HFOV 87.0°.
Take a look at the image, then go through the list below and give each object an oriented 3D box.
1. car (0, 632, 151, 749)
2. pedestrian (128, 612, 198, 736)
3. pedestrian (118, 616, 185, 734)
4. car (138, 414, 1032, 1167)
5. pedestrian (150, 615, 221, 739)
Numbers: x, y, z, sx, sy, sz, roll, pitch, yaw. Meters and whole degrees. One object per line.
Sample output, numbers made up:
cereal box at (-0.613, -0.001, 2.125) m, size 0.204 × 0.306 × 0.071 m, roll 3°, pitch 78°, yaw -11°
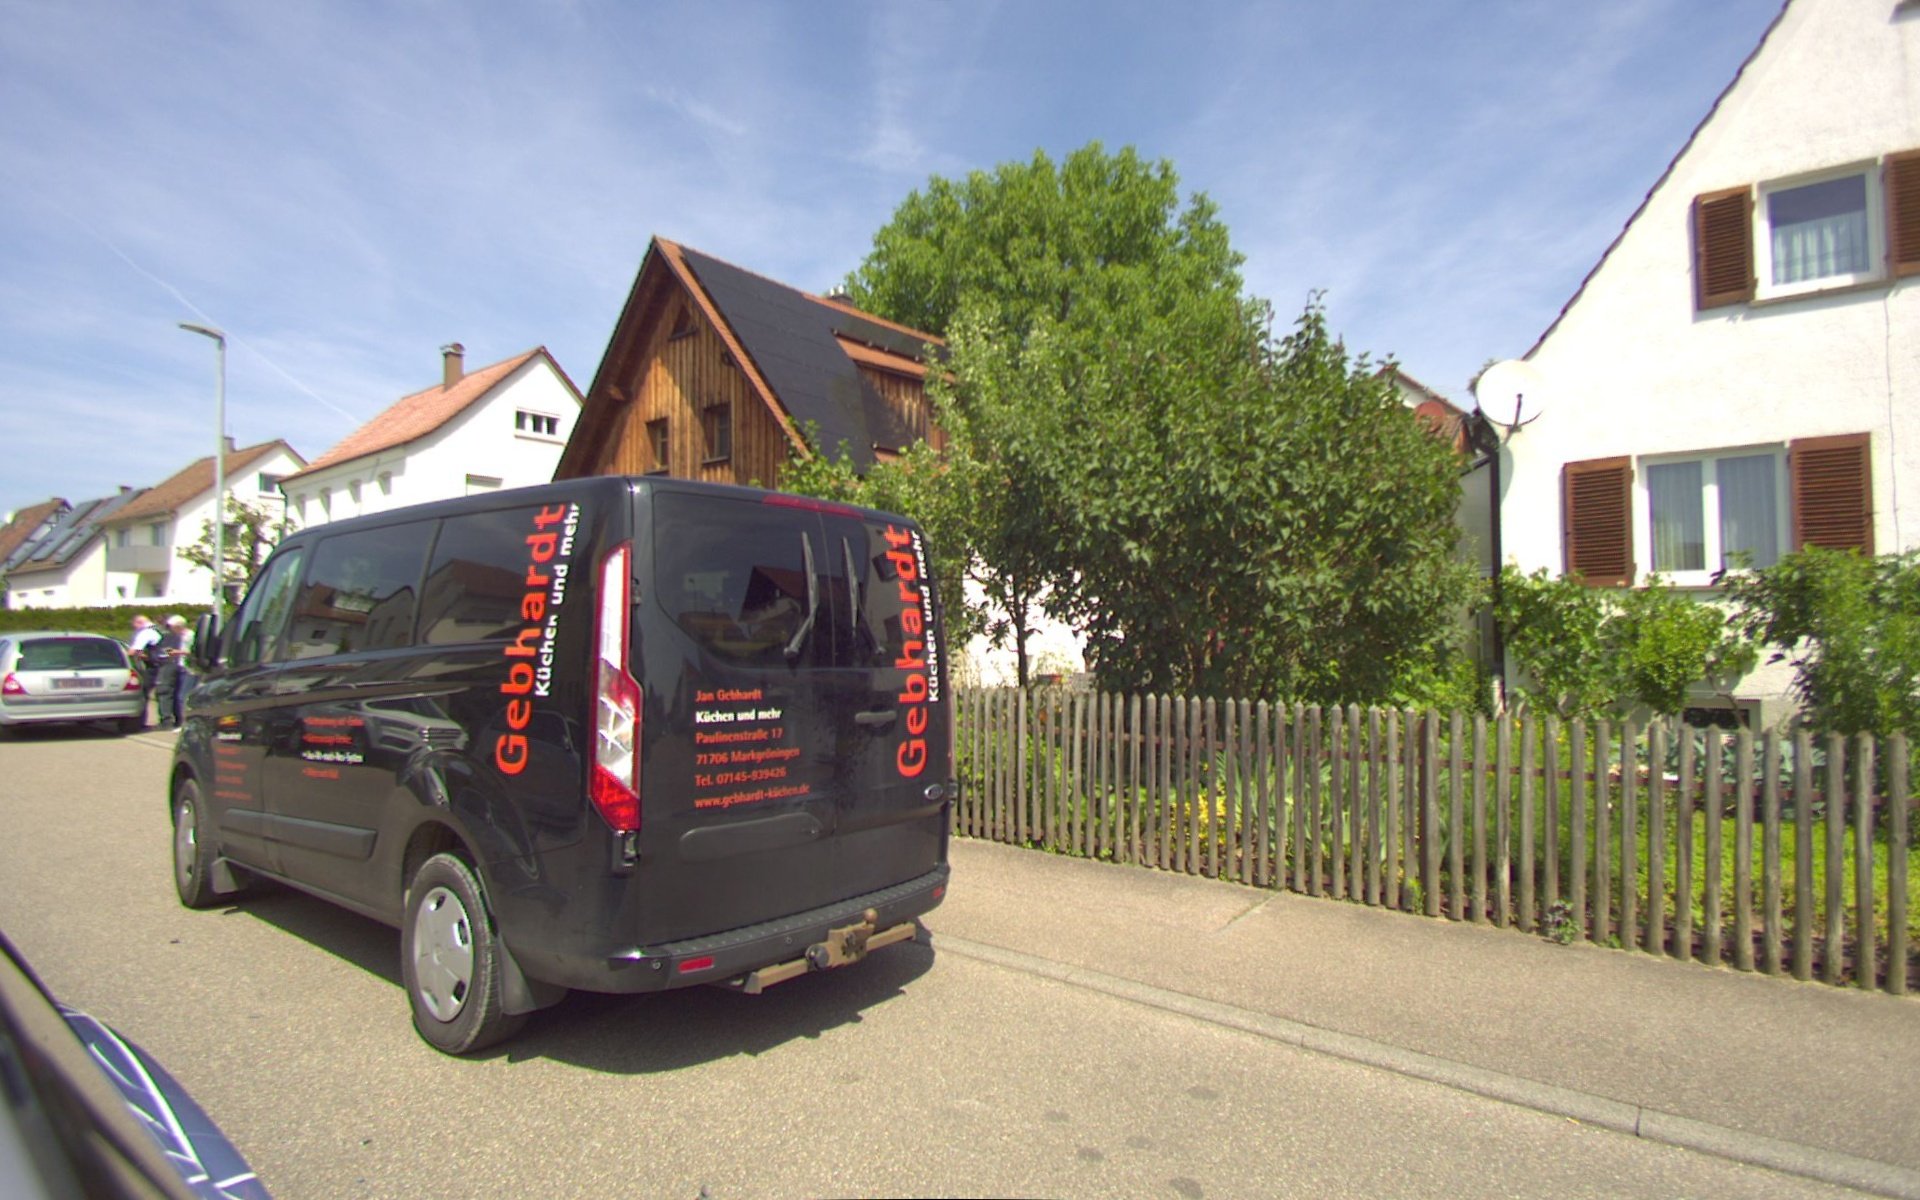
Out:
car at (-12.878, 1.185, 14.231) m, size 3.260 × 1.453 × 1.567 m, roll -1°, pitch -3°, yaw 37°
pedestrian at (-11.332, 1.024, 14.389) m, size 0.590 × 1.694 × 0.632 m, roll -2°, pitch 0°, yaw 39°
pedestrian at (-11.798, 1.068, 14.774) m, size 0.590 × 1.655 × 0.632 m, roll -2°, pitch 0°, yaw 39°
car at (-2.134, 0.553, 4.904) m, size 4.691 × 1.966 × 1.949 m, roll -2°, pitch -2°, yaw 39°
pedestrian at (-10.737, 1.045, 14.033) m, size 0.599 × 1.655 × 0.632 m, roll -2°, pitch 0°, yaw 39°
